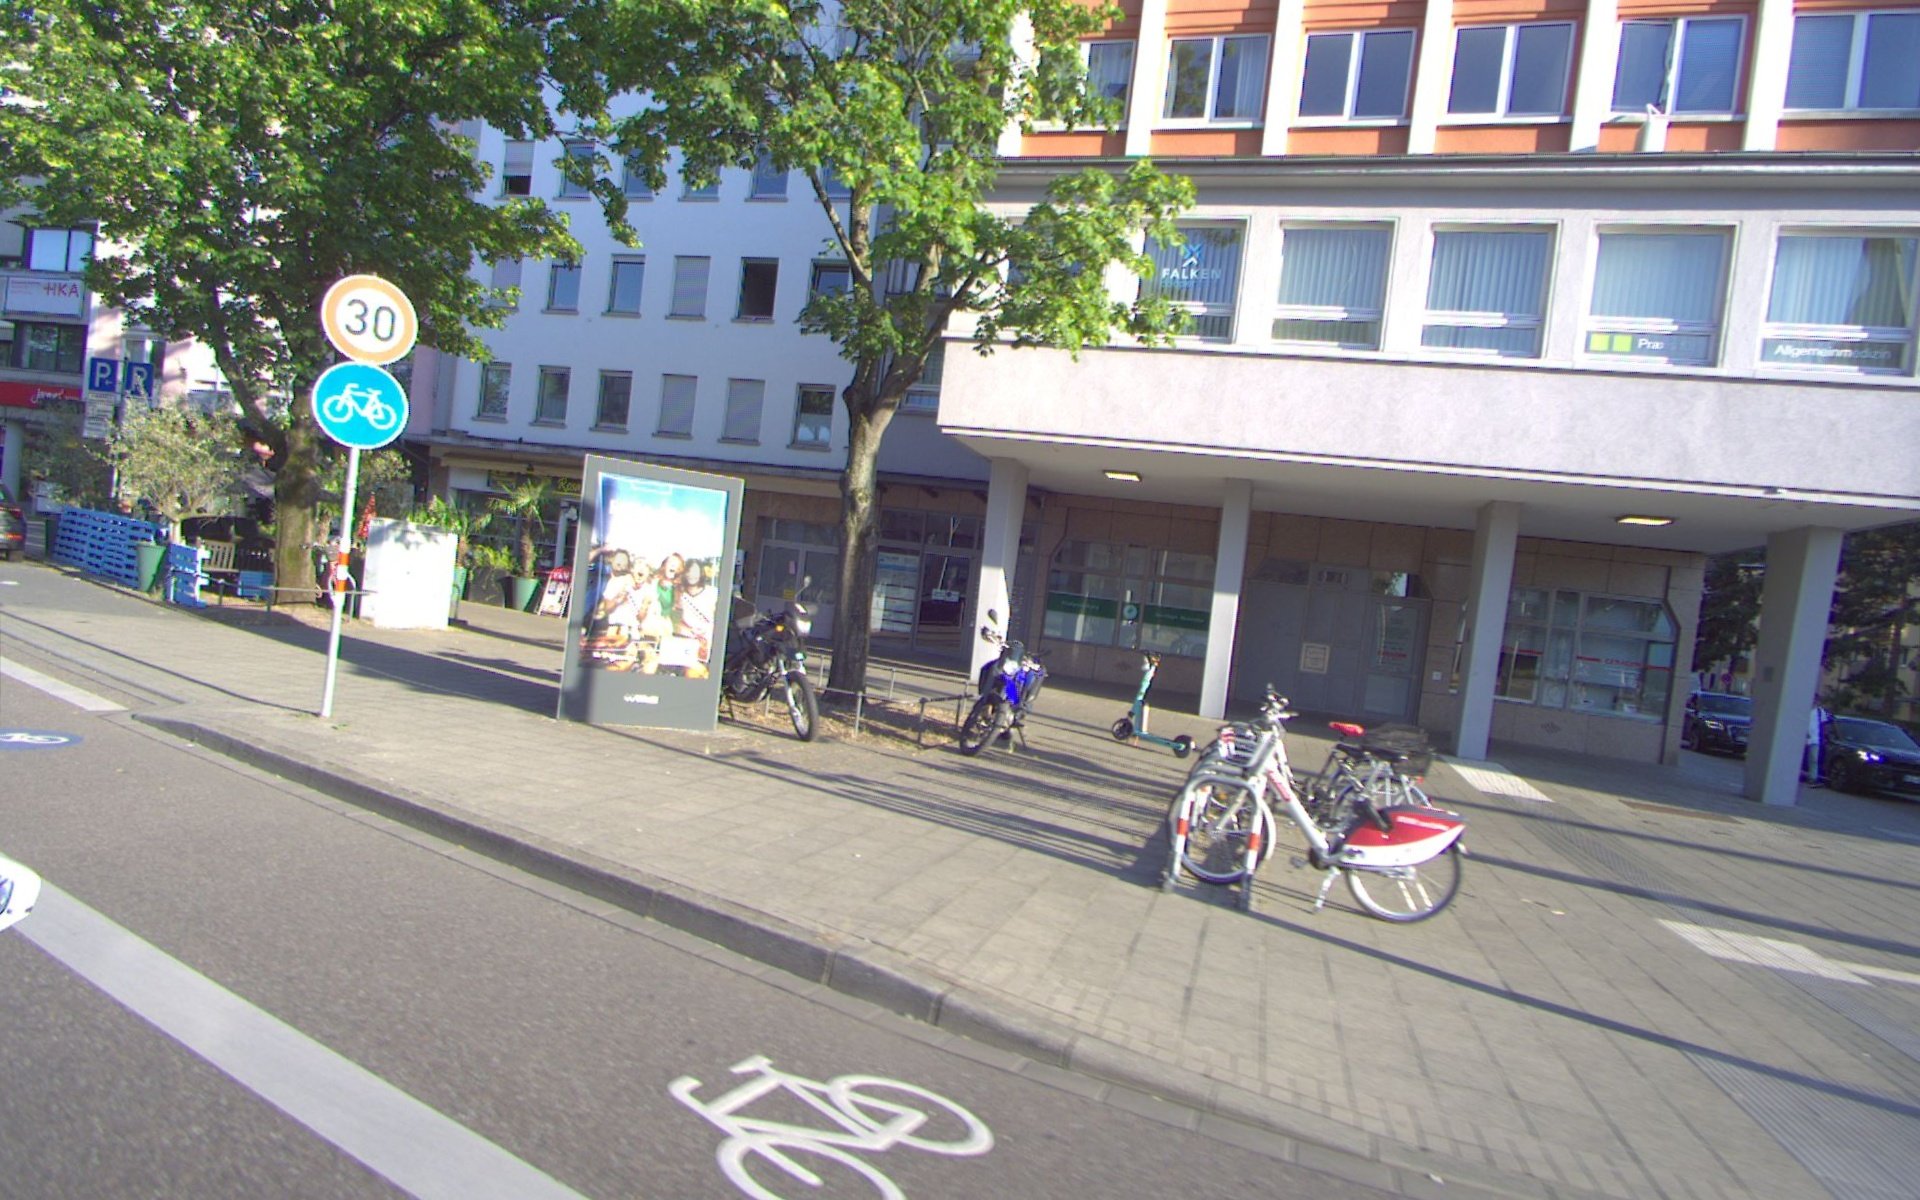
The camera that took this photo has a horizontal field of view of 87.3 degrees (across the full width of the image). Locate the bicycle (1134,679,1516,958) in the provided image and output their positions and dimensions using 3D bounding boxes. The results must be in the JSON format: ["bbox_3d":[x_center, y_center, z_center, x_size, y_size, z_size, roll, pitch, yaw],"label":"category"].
[{"bbox_3d":[2.050,1.188,5.842,1.839,1.141,0.646,8,2,19],"label":"bicycle"}]

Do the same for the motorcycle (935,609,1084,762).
[{"bbox_3d":[0.591,0.893,10.906,0.747,1.424,2.049,8,1,25],"label":"motorcycle"}]

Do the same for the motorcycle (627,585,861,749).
[{"bbox_3d":[-2.152,0.625,9.948,2.161,1.258,0.668,8,1,24],"label":"motorcycle"}]

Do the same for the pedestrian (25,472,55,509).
[{"bbox_3d":[-46.662,-5.541,51.020,0.633,1.695,0.987,8,3,42],"label":"pedestrian"}]

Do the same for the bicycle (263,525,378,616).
[{"bbox_3d":[-9.939,-0.459,15.626,1.722,1.172,0.421,8,2,19],"label":"bicycle"}]

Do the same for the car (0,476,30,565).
[{"bbox_3d":[-18.223,-1.573,18.080,3.842,1.492,1.724,7,3,40],"label":"car"}]

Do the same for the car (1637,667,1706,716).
[{"bbox_3d":[47.822,6.092,67.751,2.051,2.755,4.548,8,1,15],"label":"car"}]

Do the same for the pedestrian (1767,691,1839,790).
[{"bbox_3d":[16.418,2.718,19.610,0.628,1.779,0.819,8,2,20],"label":"pedestrian"}]

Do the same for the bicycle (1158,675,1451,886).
[{"bbox_3d":[2.512,1.282,7.482,1.839,1.141,0.646,8,2,19],"label":"bicycle"}]

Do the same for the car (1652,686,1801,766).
[{"bbox_3d":[21.116,3.407,27.920,1.963,1.593,3.999,8,0,19],"label":"car"}]

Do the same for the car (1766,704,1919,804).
[{"bbox_3d":[19.007,3.216,21.262,1.723,1.529,3.774,8,0,19],"label":"car"}]

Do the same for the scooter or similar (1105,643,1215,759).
[{"bbox_3d":[2.524,1.256,12.753,1.164,1.270,0.415,8,2,37],"label":"scooter or similar"}]

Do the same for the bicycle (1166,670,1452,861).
[{"bbox_3d":[2.930,1.353,8.599,2.084,1.172,0.646,8,2,19],"label":"bicycle"}]
